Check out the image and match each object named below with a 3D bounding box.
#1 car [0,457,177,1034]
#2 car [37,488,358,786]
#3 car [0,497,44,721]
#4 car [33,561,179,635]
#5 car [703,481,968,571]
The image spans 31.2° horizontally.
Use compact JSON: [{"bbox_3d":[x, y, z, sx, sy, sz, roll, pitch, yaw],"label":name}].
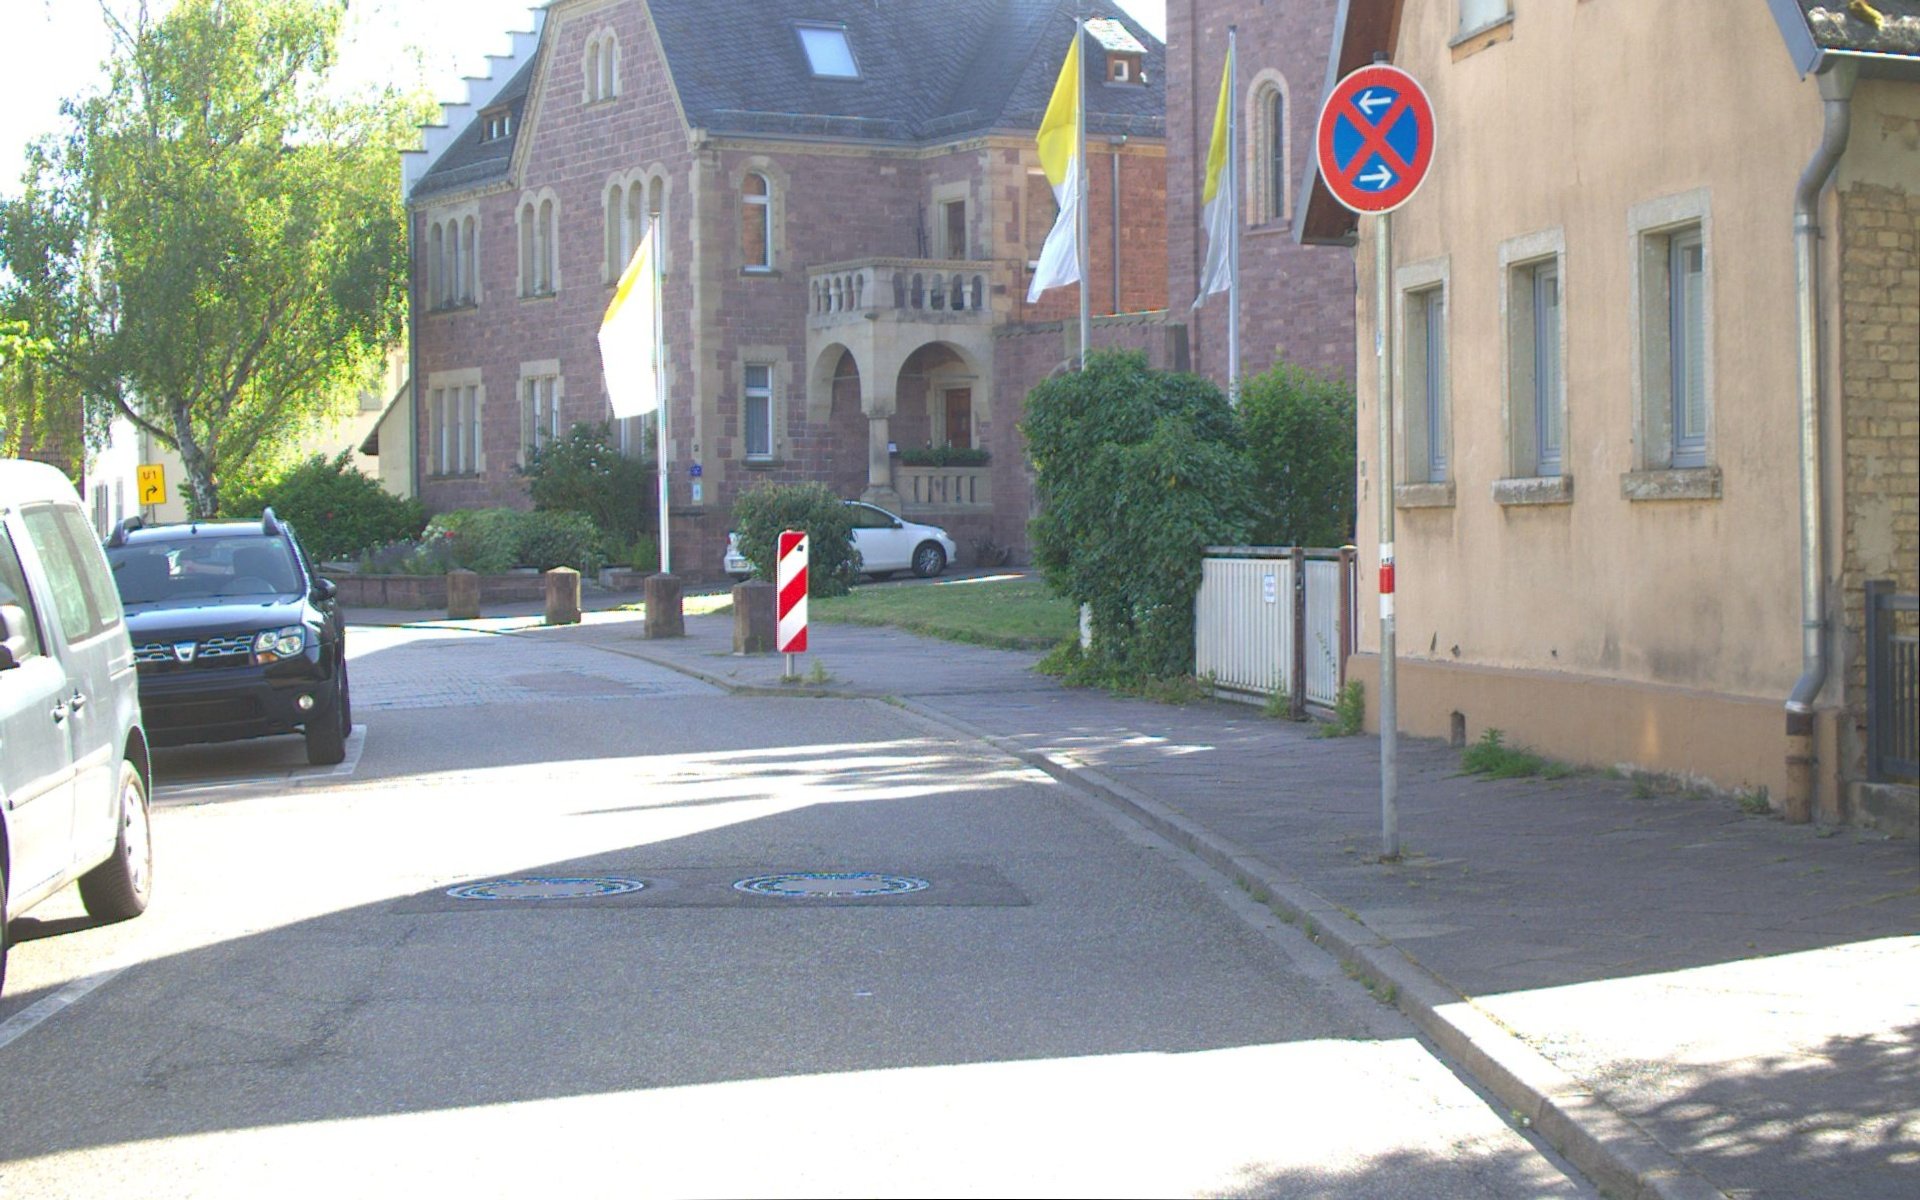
[{"bbox_3d":[-4.014,0.460,11.798,1.825,1.808,4.203,-3,2,-3],"label":"car"},{"bbox_3d":[-5.028,0.163,22.957,1.825,1.726,4.203,-3,2,-11],"label":"car"},{"bbox_3d":[-9.440,0.145,26.956,4.187,1.726,1.832,-3,2,-18],"label":"car"},{"bbox_3d":[-17.481,-0.060,70.252,1.712,1.396,4.248,-2,2,-31],"label":"car"},{"bbox_3d":[-2.132,-1.286,59.258,4.234,1.396,1.718,-3,2,-33],"label":"car"}]
